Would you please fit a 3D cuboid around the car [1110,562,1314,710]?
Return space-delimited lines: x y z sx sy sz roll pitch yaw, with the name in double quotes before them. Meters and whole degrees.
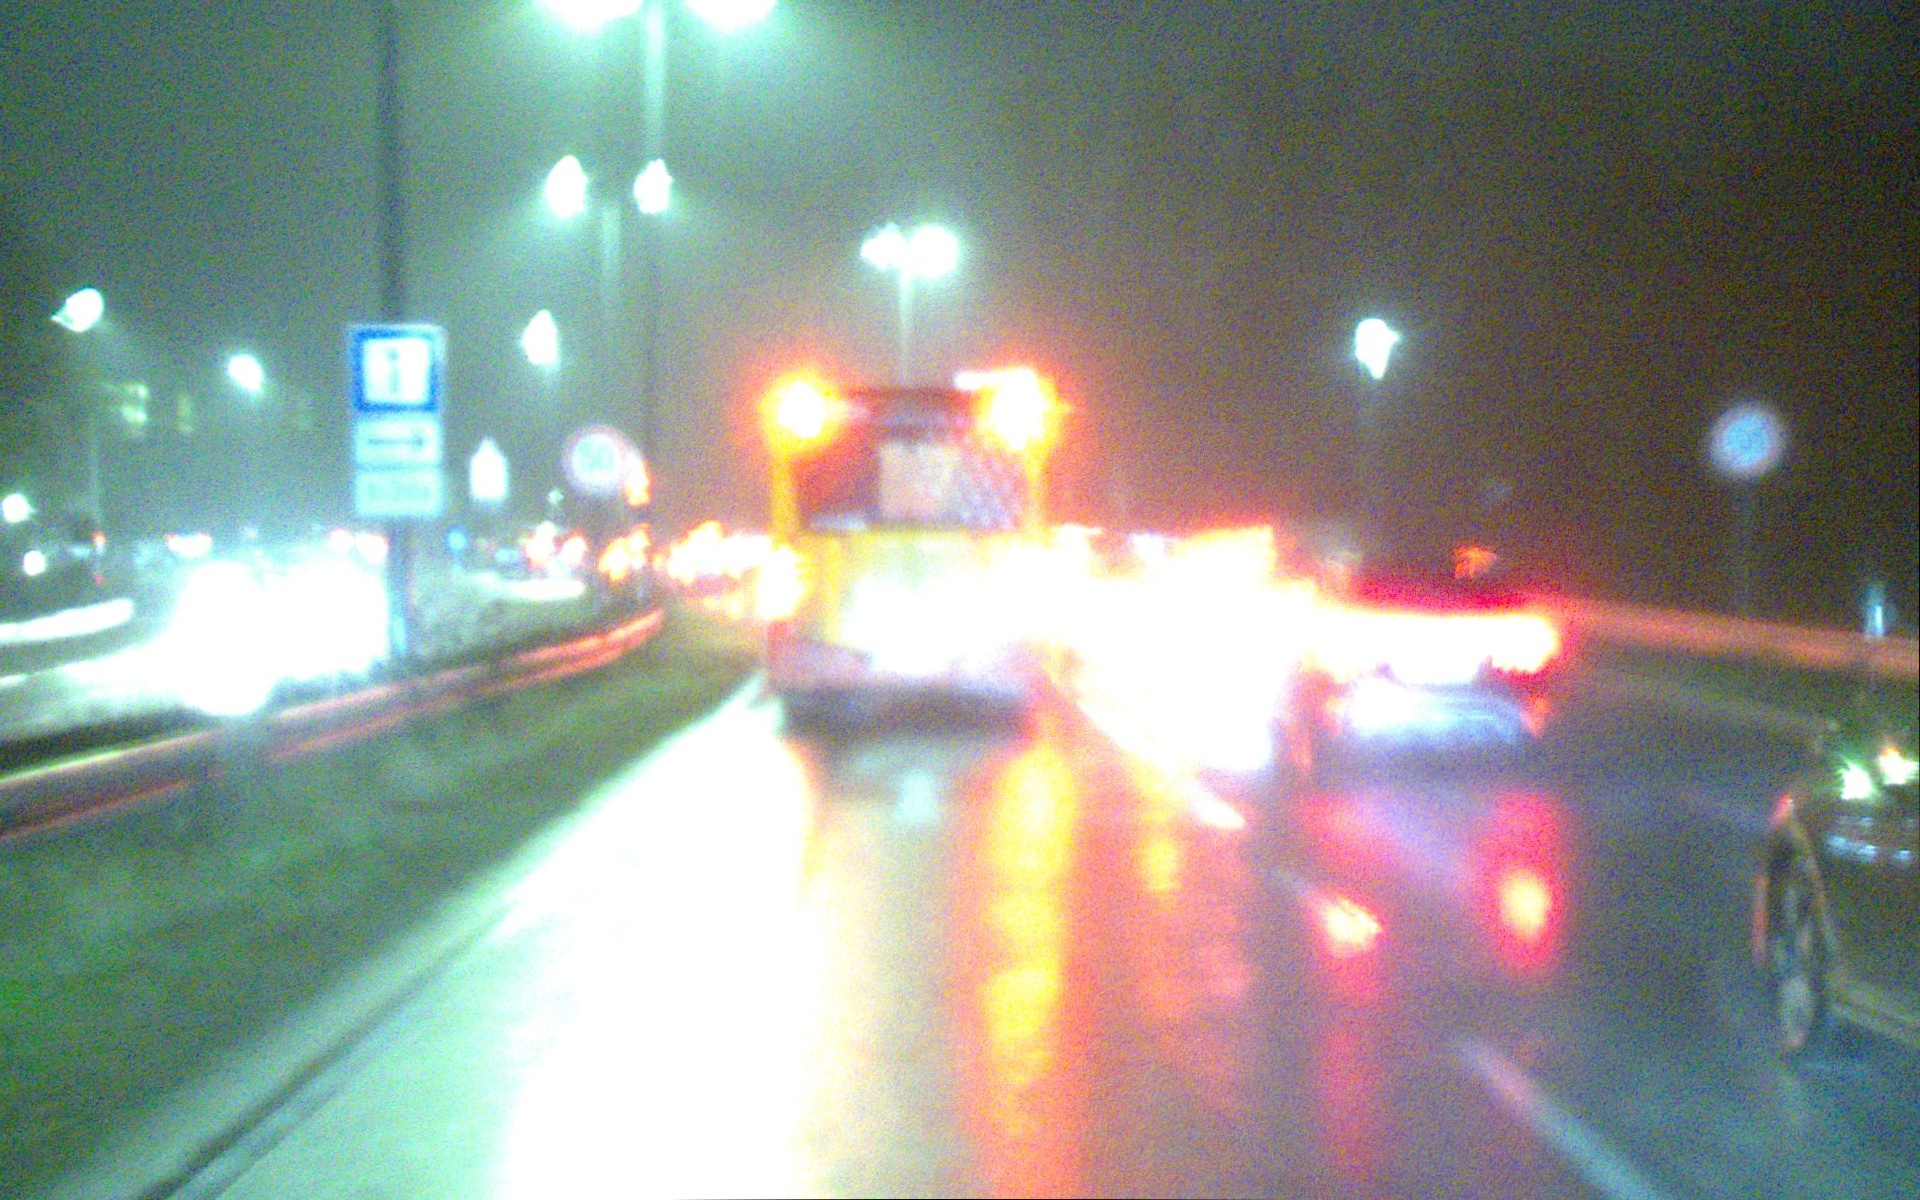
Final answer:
"car" 2.822 0.368 39.212 1.819 1.585 3.777 -1 1 -4

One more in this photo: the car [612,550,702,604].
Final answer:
"car" -9.400 -0.720 106.450 1.750 1.625 3.624 1 0 -22

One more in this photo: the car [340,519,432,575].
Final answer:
"car" -21.431 -1.959 128.219 1.993 2.007 4.000 1 0 -32

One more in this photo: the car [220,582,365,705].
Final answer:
"car" -9.562 0.591 49.465 1.620 1.645 4.001 -1 0 -5

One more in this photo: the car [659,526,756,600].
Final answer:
"car" -7.217 -1.043 97.895 1.993 2.007 4.001 1 0 -15

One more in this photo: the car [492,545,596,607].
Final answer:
"car" -13.922 -0.804 114.912 2.211 2.007 4.001 -1 1 -26

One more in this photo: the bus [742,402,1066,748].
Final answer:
"bus" -0.649 -0.271 34.582 2.815 3.013 8.688 1 1 -2

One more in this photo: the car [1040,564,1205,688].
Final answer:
"car" 2.166 0.317 46.664 1.819 1.585 3.777 -1 1 -4

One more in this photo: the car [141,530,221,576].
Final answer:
"car" -32.197 -1.947 142.011 1.993 1.680 4.001 2 2 -31

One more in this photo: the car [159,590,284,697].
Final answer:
"car" -14.552 0.830 67.880 1.993 2.007 4.001 1 0 -7

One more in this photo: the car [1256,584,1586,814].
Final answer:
"car" 3.392 0.685 25.956 1.739 1.559 3.777 1 1 -4

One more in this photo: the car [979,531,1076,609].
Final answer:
"car" 1.365 -0.631 70.990 1.779 1.538 3.875 1 1 -2

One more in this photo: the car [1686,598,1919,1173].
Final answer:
"car" 3.328 0.756 8.902 1.731 1.444 4.725 1 1 -2

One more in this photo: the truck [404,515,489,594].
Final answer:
"truck" -17.247 -1.570 115.384 1.855 2.384 4.781 -2 4 -20

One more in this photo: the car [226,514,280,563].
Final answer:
"car" -30.349 -2.641 147.467 2.120 2.007 4.001 1 0 -13
